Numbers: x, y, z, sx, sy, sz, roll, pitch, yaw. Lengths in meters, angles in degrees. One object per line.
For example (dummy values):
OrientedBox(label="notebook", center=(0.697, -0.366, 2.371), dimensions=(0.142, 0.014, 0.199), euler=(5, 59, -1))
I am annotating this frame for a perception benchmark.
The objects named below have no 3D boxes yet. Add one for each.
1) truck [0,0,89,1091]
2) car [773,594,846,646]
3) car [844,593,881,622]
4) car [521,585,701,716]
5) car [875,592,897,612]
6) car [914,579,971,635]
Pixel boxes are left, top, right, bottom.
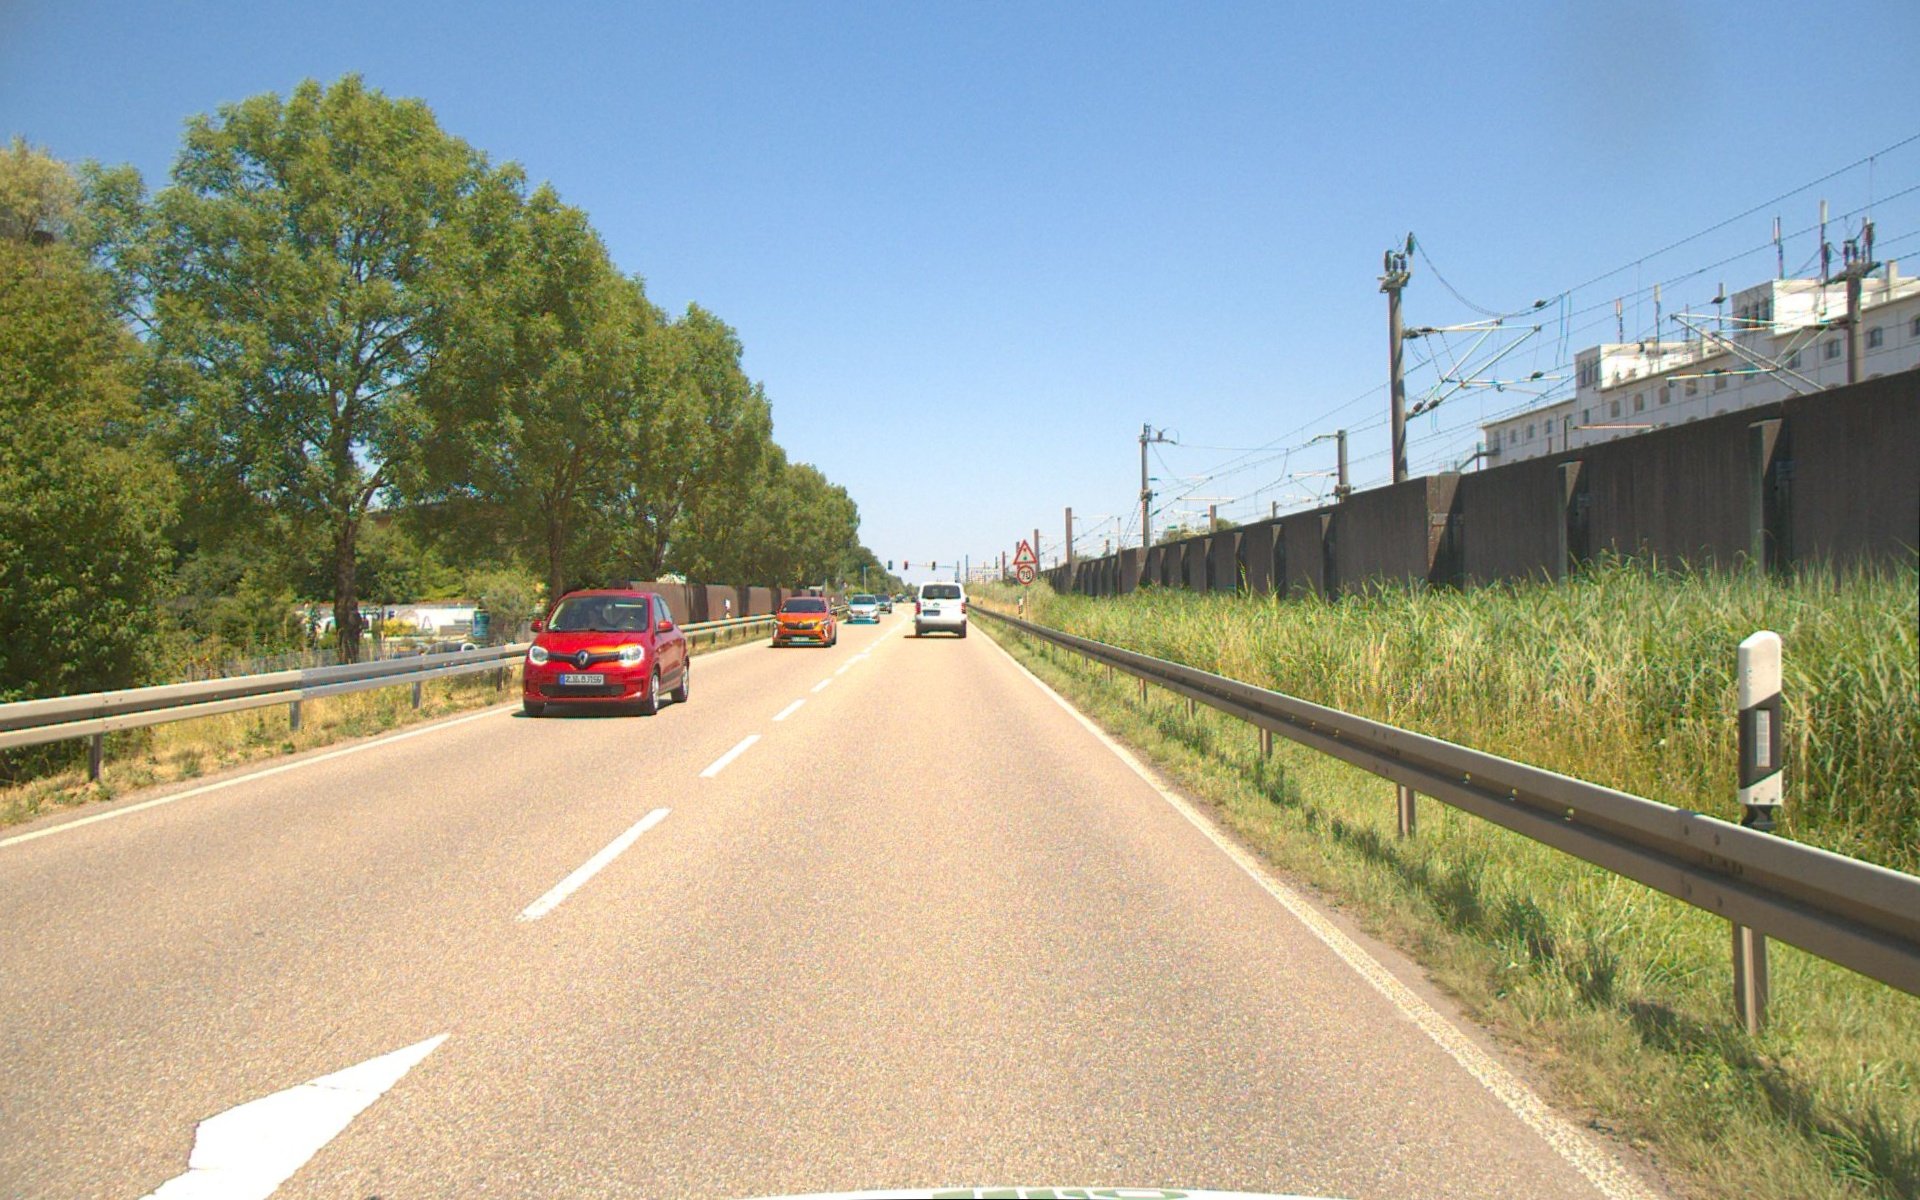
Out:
OrientedBox(label="truck", center=(-3.915, -0.374, 0.922), dimensions=(2.727, 3.464, 7.987), euler=(1, 0, -1))
OrientedBox(label="car", center=(-4.402, 0.563, 48.886), dimensions=(1.752, 1.446, 4.000), euler=(0, 0, 0))
OrientedBox(label="car", center=(-5.323, 0.386, 90.519), dimensions=(1.753, 1.552, 4.389), euler=(0, 0, 0))
OrientedBox(label="car", center=(-4.531, 0.598, 21.993), dimensions=(1.619, 1.579, 3.999), euler=(0, 0, -1))
OrientedBox(label="car", center=(-6.089, 0.152, 135.882), dimensions=(1.753, 1.552, 4.389), euler=(0, 0, -2))
OrientedBox(label="car", center=(-0.620, 0.228, 59.271), dimensions=(1.953, 1.882, 3.999), euler=(1, 0, -1))
